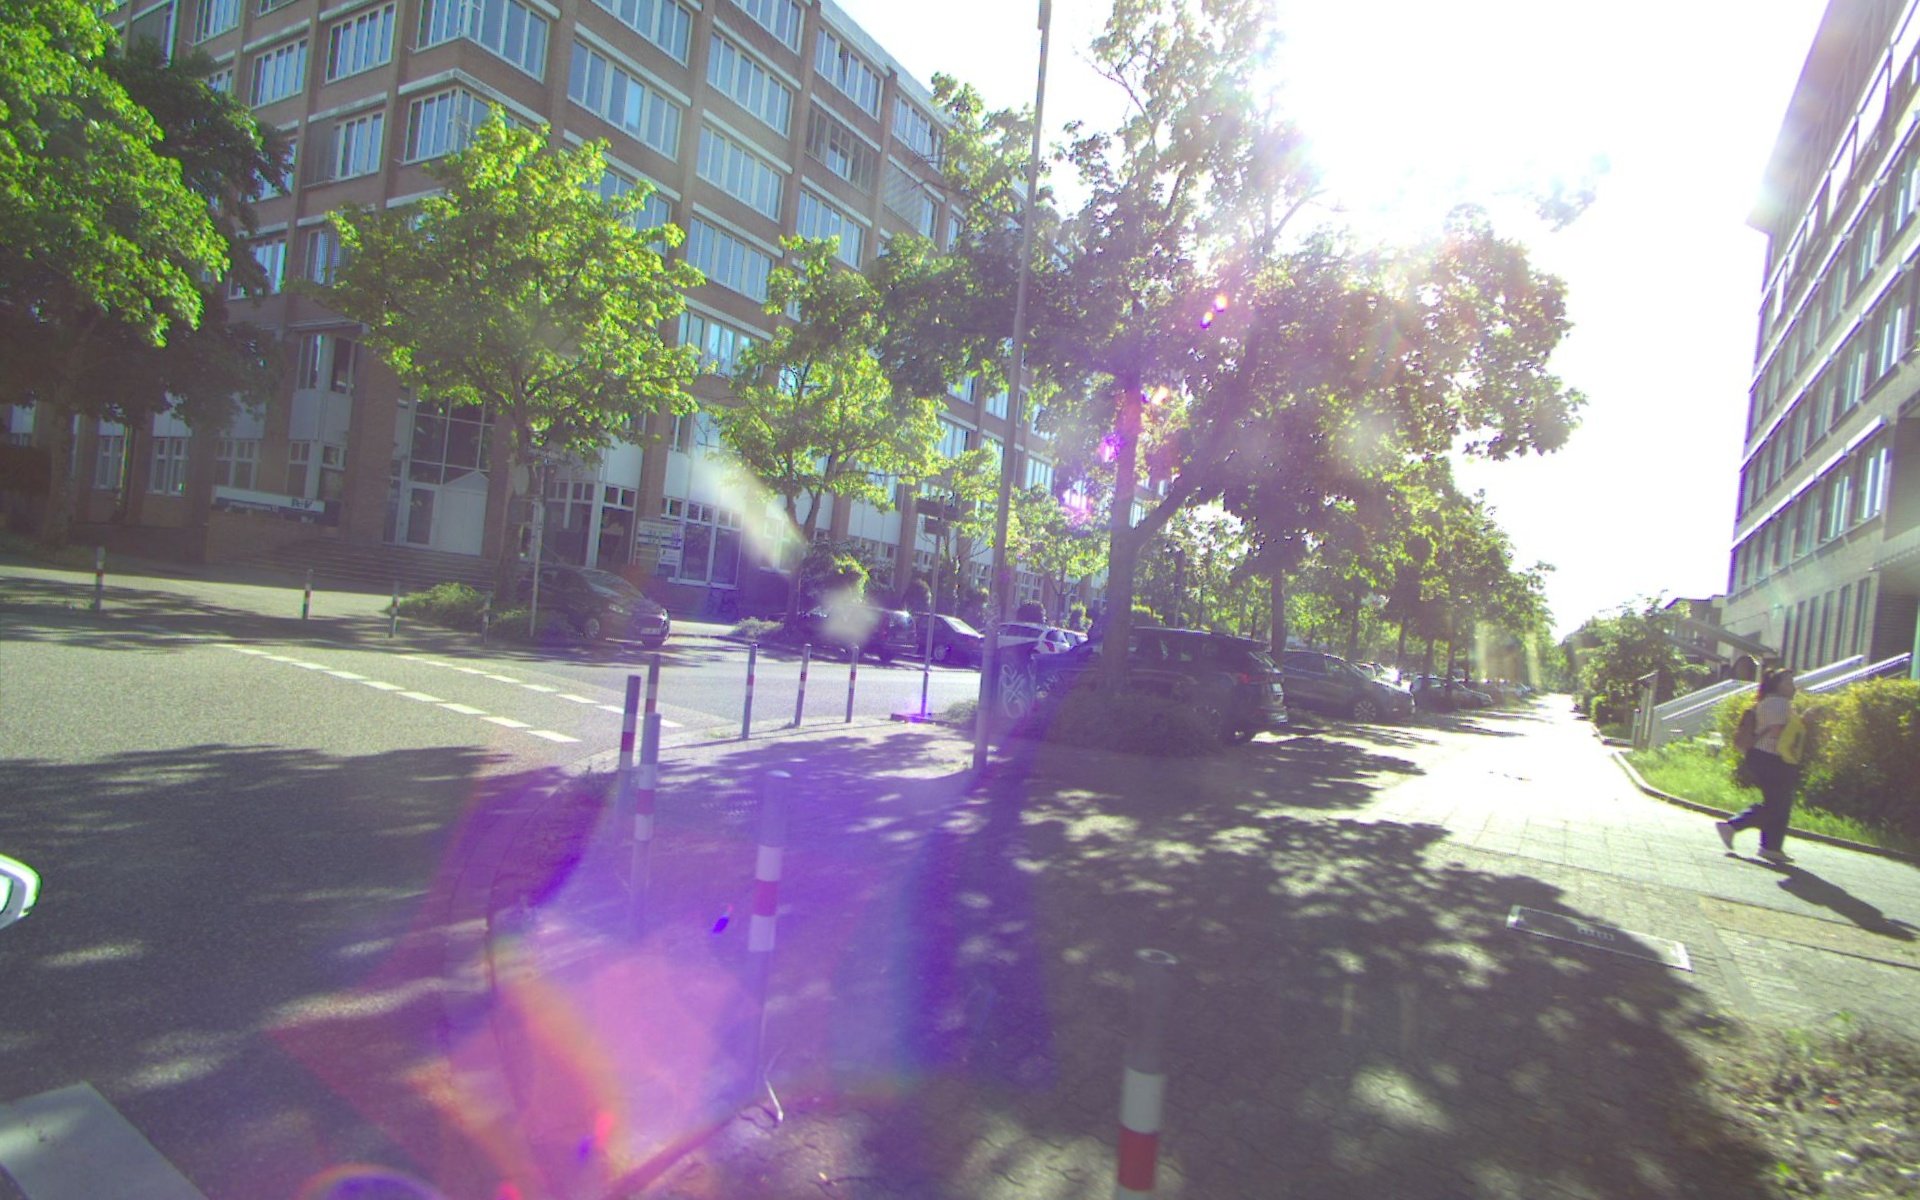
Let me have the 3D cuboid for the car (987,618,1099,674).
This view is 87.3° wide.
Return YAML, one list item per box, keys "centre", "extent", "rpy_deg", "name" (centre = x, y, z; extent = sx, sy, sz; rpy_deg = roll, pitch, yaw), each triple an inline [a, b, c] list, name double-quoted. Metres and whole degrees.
- centre: [3.211, 1.776, 39.156]
  extent: [3.933, 1.521, 1.533]
  rpy_deg: [9, 1, 32]
  name: "car"

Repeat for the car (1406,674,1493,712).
- centre: [25.122, 4.735, 51.649]
  extent: [3.843, 1.462, 1.534]
  rpy_deg: [5, -1, 29]
  name: "car"

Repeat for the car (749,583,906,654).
- centre: [-3.759, 0.494, 28.191]
  extent: [4.205, 1.479, 1.689]
  rpy_deg: [6, 0, 35]
  name: "car"

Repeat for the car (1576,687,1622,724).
- centre: [29.836, 4.903, 46.936]
  extent: [1.513, 1.461, 3.897]
  rpy_deg: [5, -1, 36]
  name: "car"

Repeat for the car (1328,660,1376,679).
- centre: [36.454, 6.475, 93.564]
  extent: [3.844, 1.259, 1.534]
  rpy_deg: [5, -1, 31]
  name: "car"

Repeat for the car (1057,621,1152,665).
- centre: [6.511, 1.937, 45.568]
  extent: [3.845, 1.520, 1.533]
  rpy_deg: [7, 0, 32]
  name: "car"

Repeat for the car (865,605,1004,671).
- centre: [-0.818, 1.183, 31.610]
  extent: [3.931, 1.384, 1.626]
  rpy_deg: [9, 0, 29]
  name: "car"

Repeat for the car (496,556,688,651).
- centre: [-7.772, 0.067, 21.172]
  extent: [3.852, 1.480, 1.654]
  rpy_deg: [7, 0, 32]
  name: "car"

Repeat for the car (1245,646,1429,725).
- centre: [9.443, 2.128, 25.335]
  extent: [3.942, 1.603, 1.698]
  rpy_deg: [2, -3, 38]
  name: "car"

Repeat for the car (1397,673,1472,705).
- centre: [28.195, 5.276, 59.791]
  extent: [3.842, 1.331, 1.534]
  rpy_deg: [7, 0, 29]
  name: "car"

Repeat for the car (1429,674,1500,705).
- centre: [31.550, 5.605, 62.964]
  extent: [3.842, 1.462, 1.534]
  rpy_deg: [5, -1, 29]
  name: "car"

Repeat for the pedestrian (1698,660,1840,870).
- centre: [6.713, 1.335, 8.377]
  extent: [0.636, 1.602, 0.539]
  rpy_deg: [7, 1, 22]
  name: "pedestrian"

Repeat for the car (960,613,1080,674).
- centre: [2.192, 1.607, 37.150]
  extent: [3.933, 1.584, 1.624]
  rpy_deg: [9, 1, 32]
  name: "car"

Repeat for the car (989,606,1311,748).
- centre: [2.783, 1.091, 14.987]
  extent: [4.292, 1.584, 1.741]
  rpy_deg: [4, -2, 29]
  name: "car"
